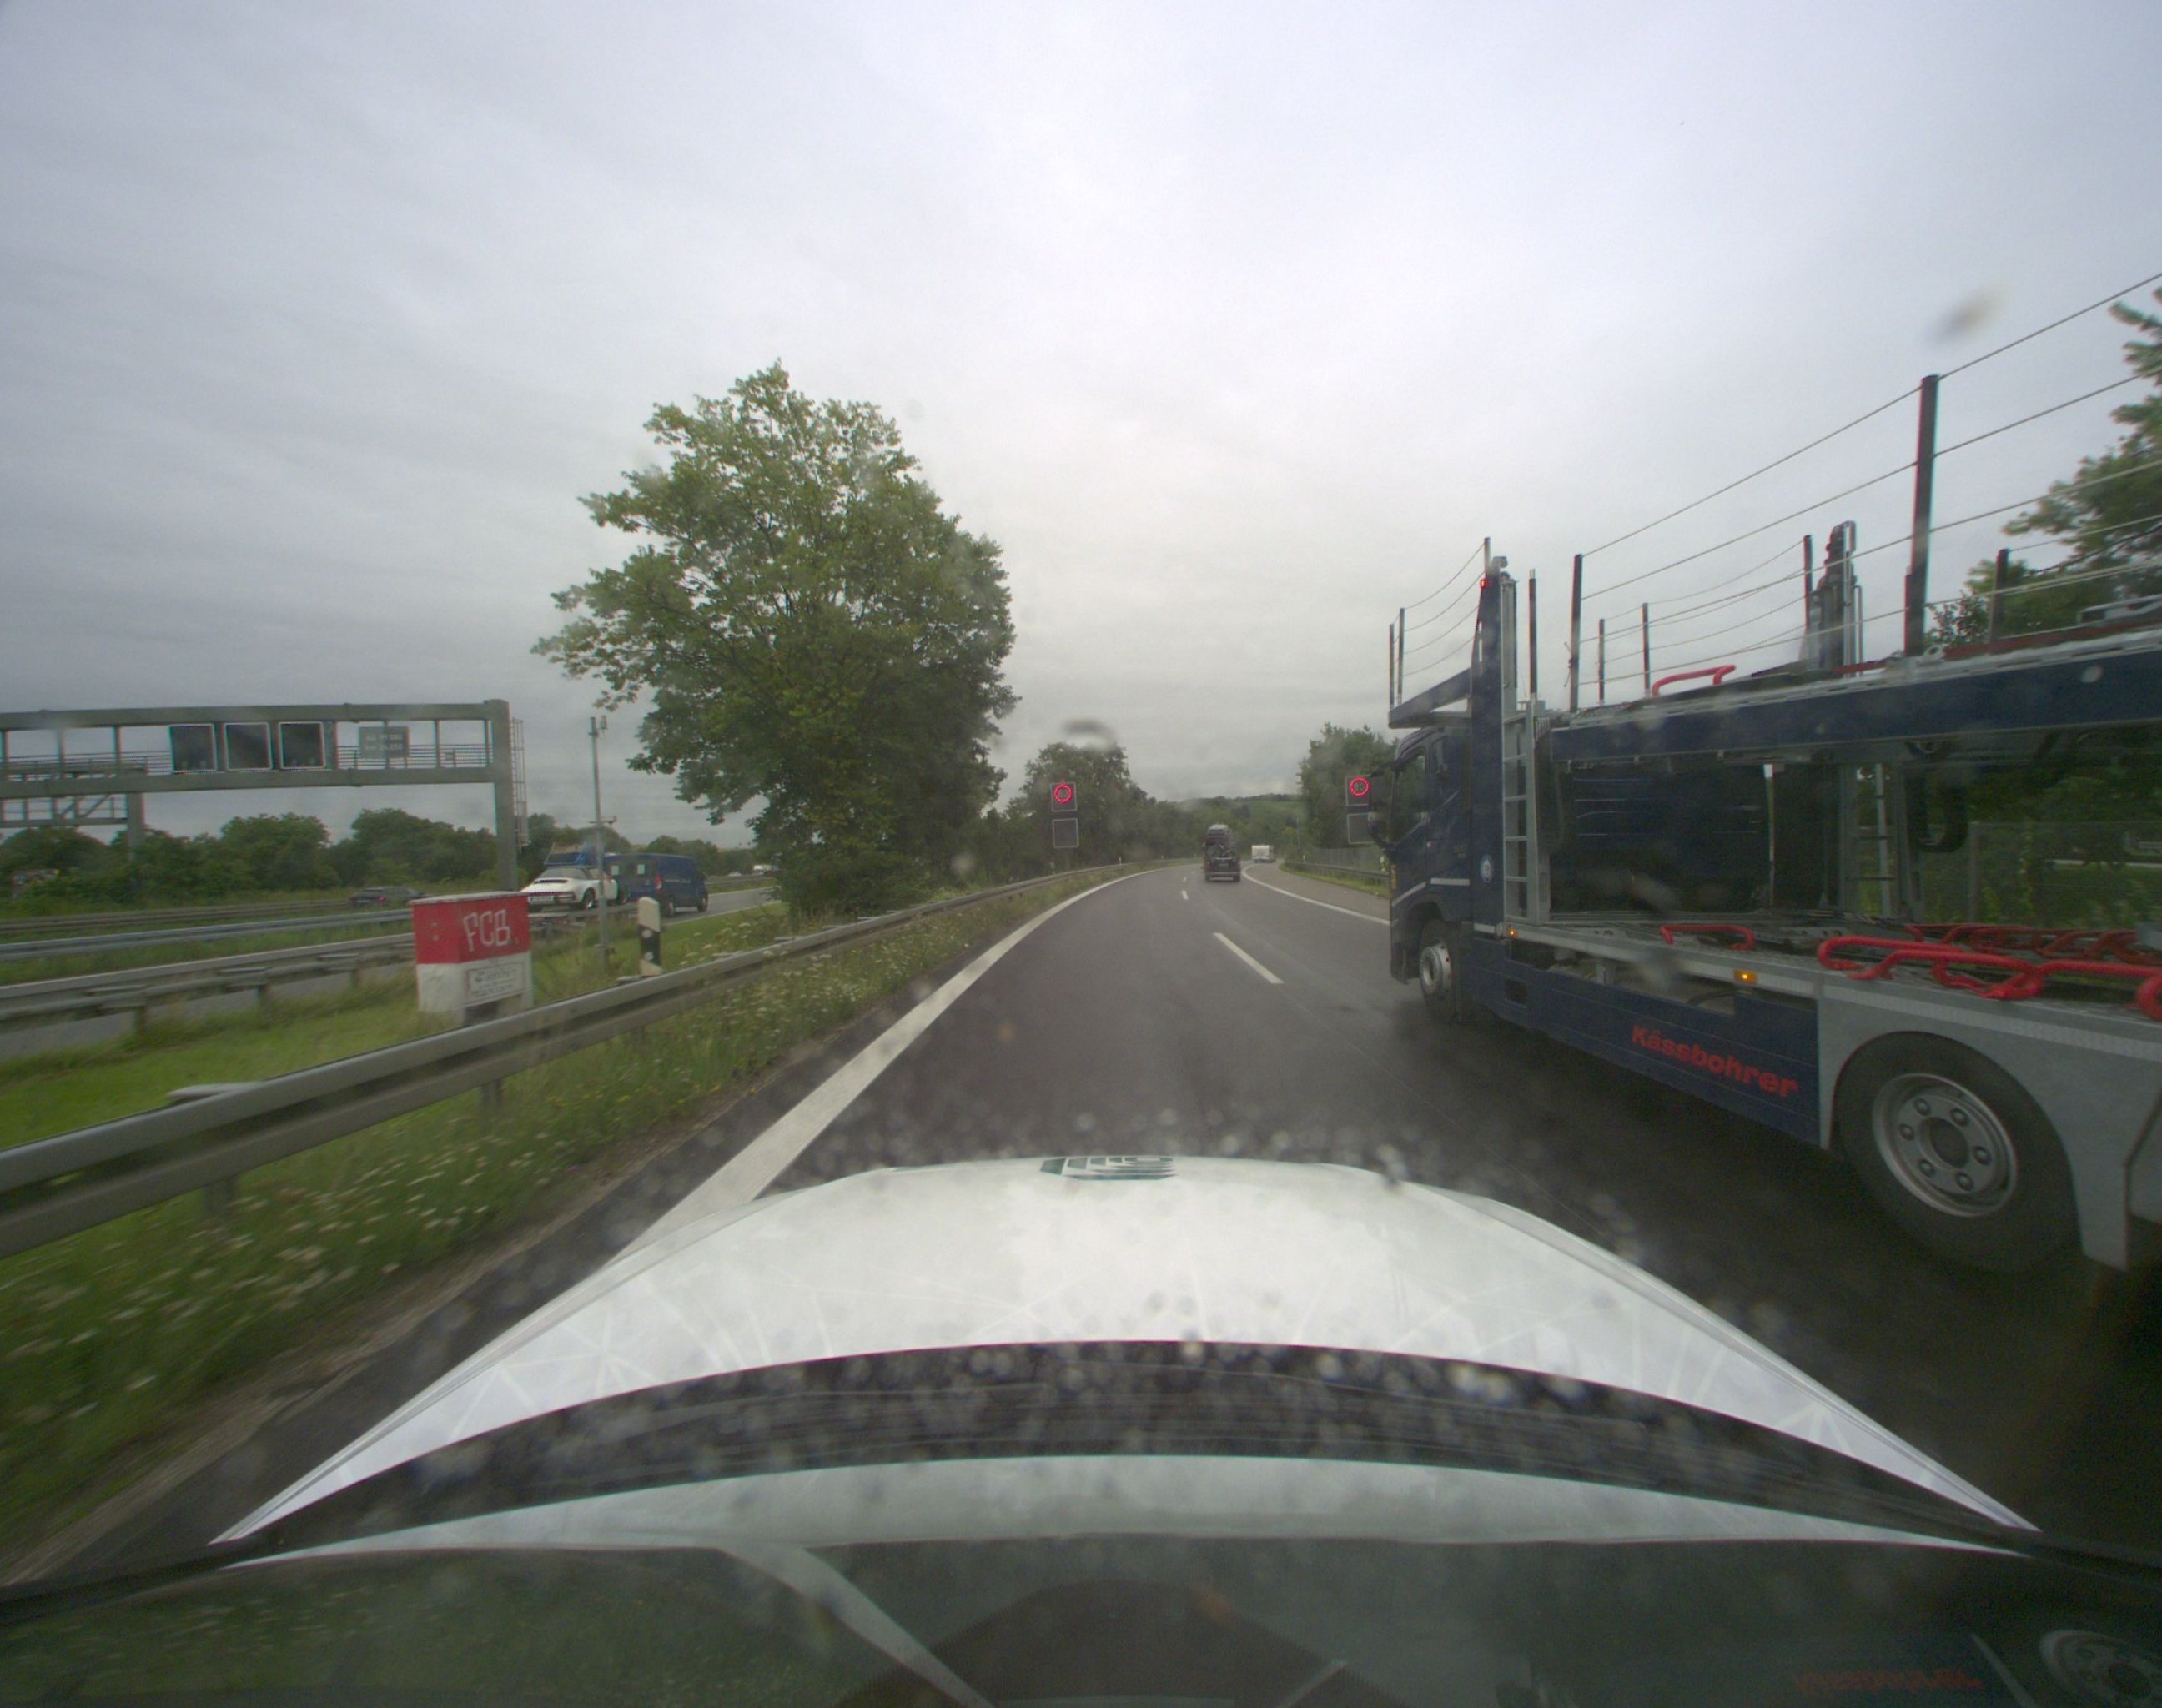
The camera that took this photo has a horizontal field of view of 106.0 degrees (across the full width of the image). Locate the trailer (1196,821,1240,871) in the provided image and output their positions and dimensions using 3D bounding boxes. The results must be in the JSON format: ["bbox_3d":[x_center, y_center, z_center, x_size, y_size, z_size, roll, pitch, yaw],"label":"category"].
[{"bbox_3d":[12.002,-0.697,71.804,3.429,3.999,12.057,1,0,9],"label":"trailer"}]

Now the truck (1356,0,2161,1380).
[{"bbox_3d":[4.293,-0.595,4.459,2.728,3.968,9.132,-1,0,2],"label":"truck"}]

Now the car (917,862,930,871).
[{"bbox_3d":[-28.788,2.238,148.767,1.960,1.637,5.610,-2,-1,-7],"label":"car"}]

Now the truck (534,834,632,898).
[{"bbox_3d":[-32.082,0.749,52.790,2.637,3.812,7.322,-1,-1,-8],"label":"truck"}]

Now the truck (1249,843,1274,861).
[{"bbox_3d":[27.051,-0.332,122.103,2.626,2.605,6.453,-2,0,21],"label":"truck"}]

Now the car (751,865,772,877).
[{"bbox_3d":[-43.958,2.324,112.097,1.808,1.574,3.990,-2,-1,-7],"label":"car"}]

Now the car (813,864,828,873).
[{"bbox_3d":[-47.032,2.606,147.221,1.883,1.574,3.990,-2,-1,-7],"label":"car"}]

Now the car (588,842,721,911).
[{"bbox_3d":[-15.768,0.779,30.627,2.371,2.266,6.240,-2,0,-8],"label":"car"}]

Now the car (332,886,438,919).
[{"bbox_3d":[-35.275,2.418,41.476,1.803,1.391,4.761,-2,-1,-8],"label":"car"}]

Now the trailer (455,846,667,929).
[{"bbox_3d":[-14.887,0.857,24.075,2.483,1.994,7.044,-2,0,-8],"label":"trailer"}]

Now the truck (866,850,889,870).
[{"bbox_3d":[-46.713,1.399,187.233,3.730,4.417,10.169,-1,0,-7],"label":"truck"}]

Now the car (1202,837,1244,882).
[{"bbox_3d":[7.866,0.257,45.289,2.097,2.264,5.911,-2,0,9],"label":"car"}]

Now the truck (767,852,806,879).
[{"bbox_3d":[-38.469,1.459,106.576,2.854,3.365,8.609,-2,0,-7],"label":"truck"}]
